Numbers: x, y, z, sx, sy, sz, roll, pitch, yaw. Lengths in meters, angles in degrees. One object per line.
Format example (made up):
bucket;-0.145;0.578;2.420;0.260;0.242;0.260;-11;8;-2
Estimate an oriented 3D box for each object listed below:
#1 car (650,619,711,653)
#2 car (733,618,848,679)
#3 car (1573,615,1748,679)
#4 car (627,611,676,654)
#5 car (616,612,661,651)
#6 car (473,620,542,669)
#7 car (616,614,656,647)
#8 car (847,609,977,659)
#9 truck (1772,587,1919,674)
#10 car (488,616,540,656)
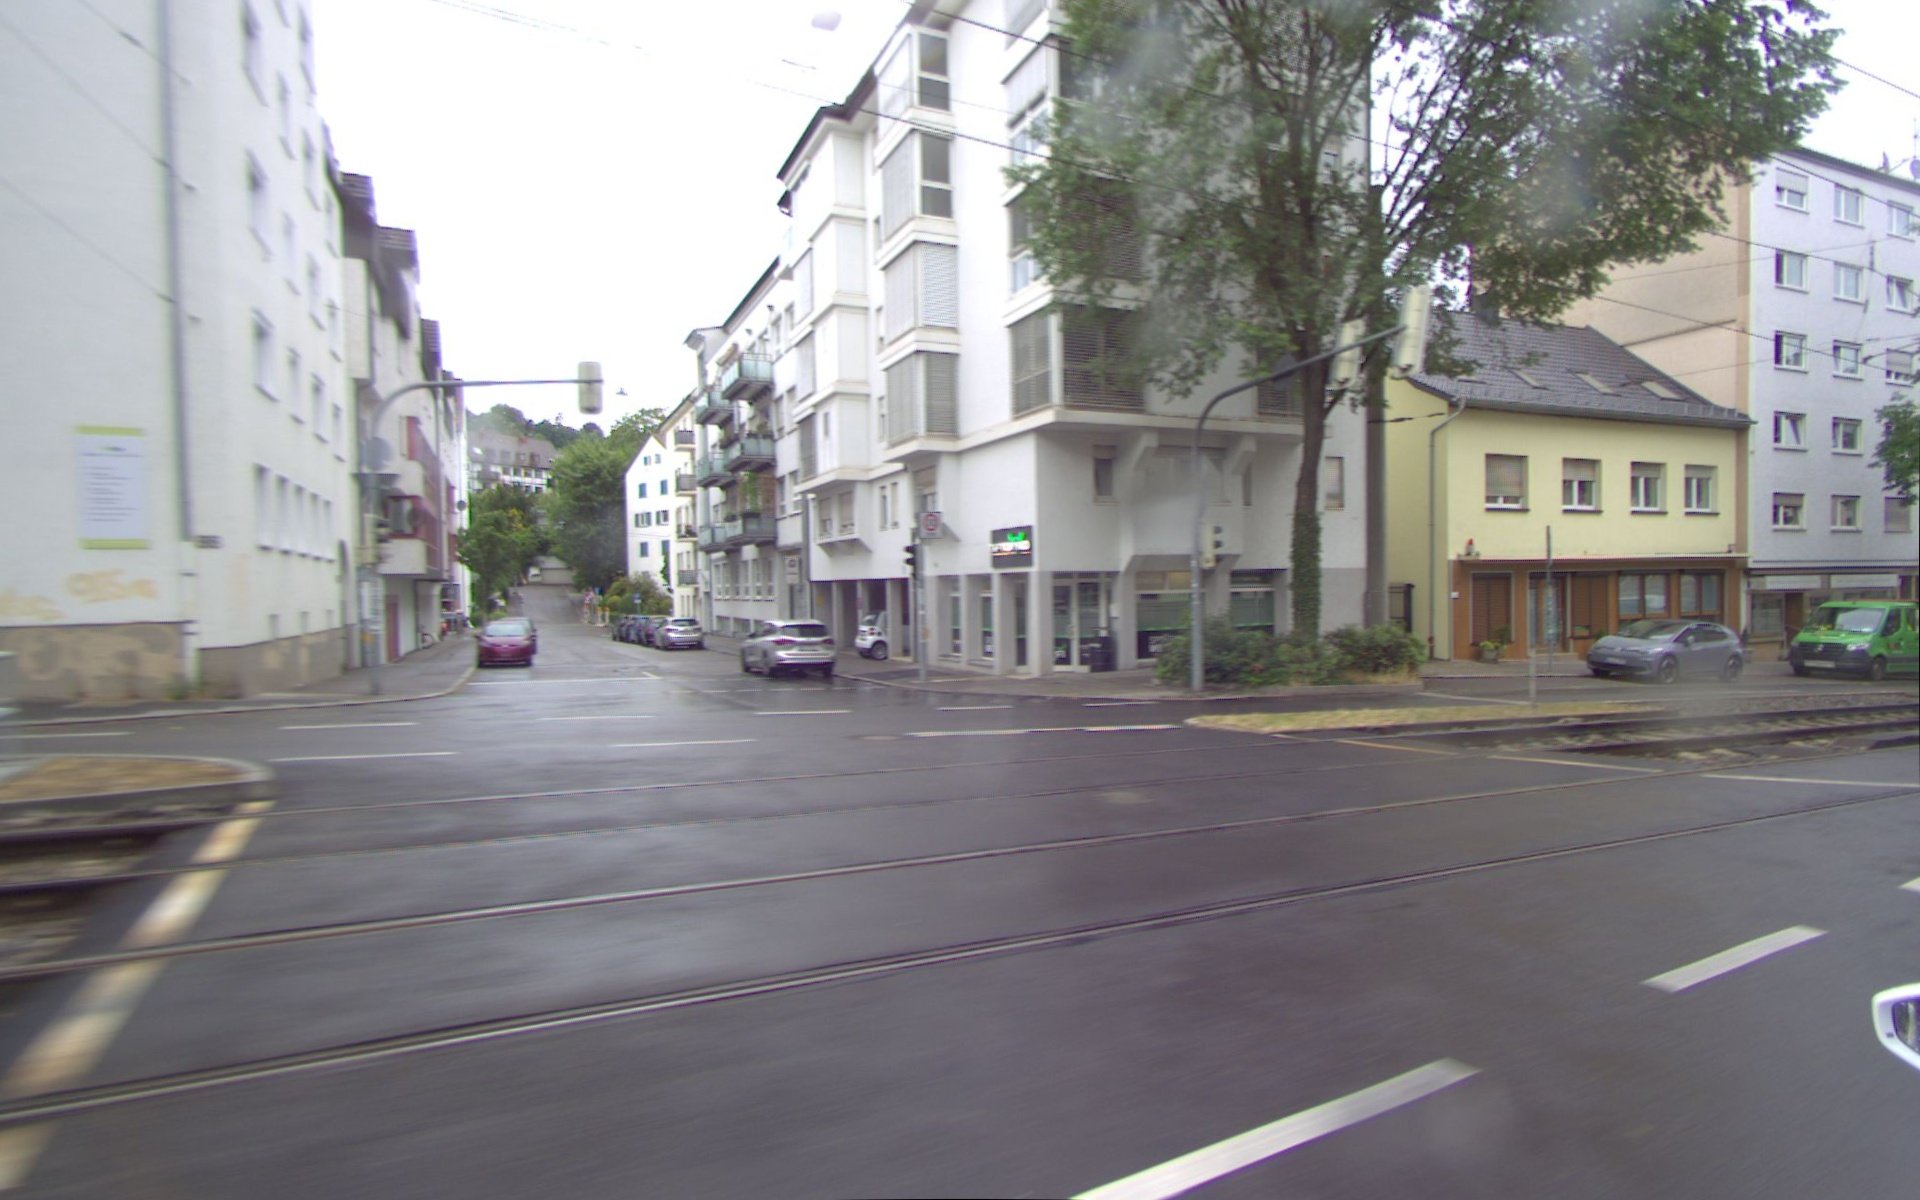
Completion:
car;-12.597;1.596;45.091;1.972;1.472;4.702;1;-2;-24
car;-4.683;1.264;27.123;1.972;1.492;4.702;1;-2;-24
car;18.158;1.178;26.026;4.433;1.535;1.721;1;-1;-24
car;-15.547;1.635;50.467;1.845;2.040;4.427;1;-2;-24
car;-17.685;1.698;55.095;1.845;2.040;4.961;1;-2;-24
car;-15.274;1.473;34.015;1.972;1.521;4.702;1;-2;-24
car;-20.503;1.923;63.422;1.955;2.040;4.427;1;-2;-24
car;-1.551;1.127;33.027;3.953;1.555;1.692;1;-2;-30
truck;27.347;0.944;30.032;6.229;2.424;2.047;2;-1;-22
car;-19.670;1.566;44.326;1.972;1.643;4.702;1;-2;-24
